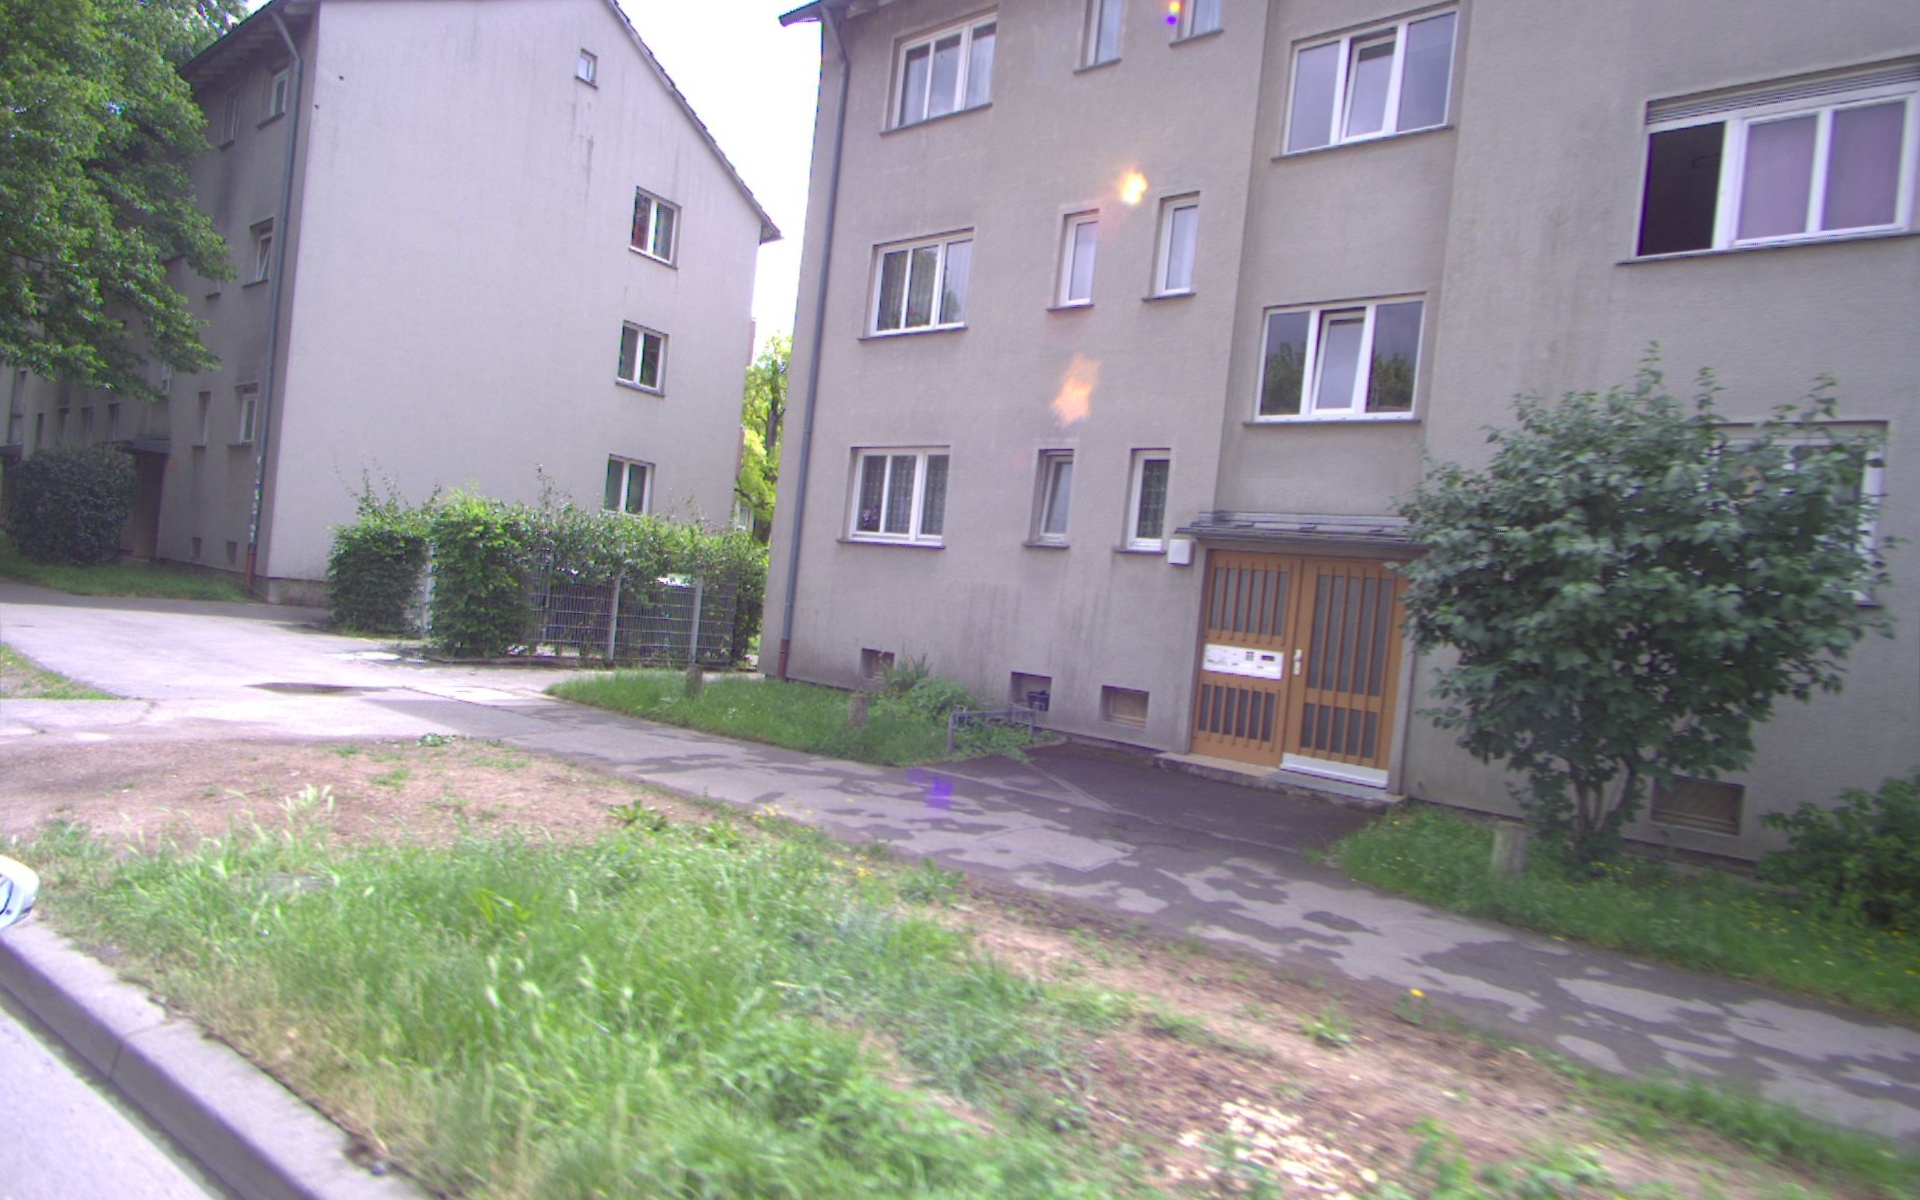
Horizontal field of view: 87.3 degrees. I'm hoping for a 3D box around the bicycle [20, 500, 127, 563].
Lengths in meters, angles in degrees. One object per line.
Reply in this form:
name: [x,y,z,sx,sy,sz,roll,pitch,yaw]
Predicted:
bicycle: [-19.053,-1.461,21.631,1.723,1.093,0.436,7,-1,-4]
